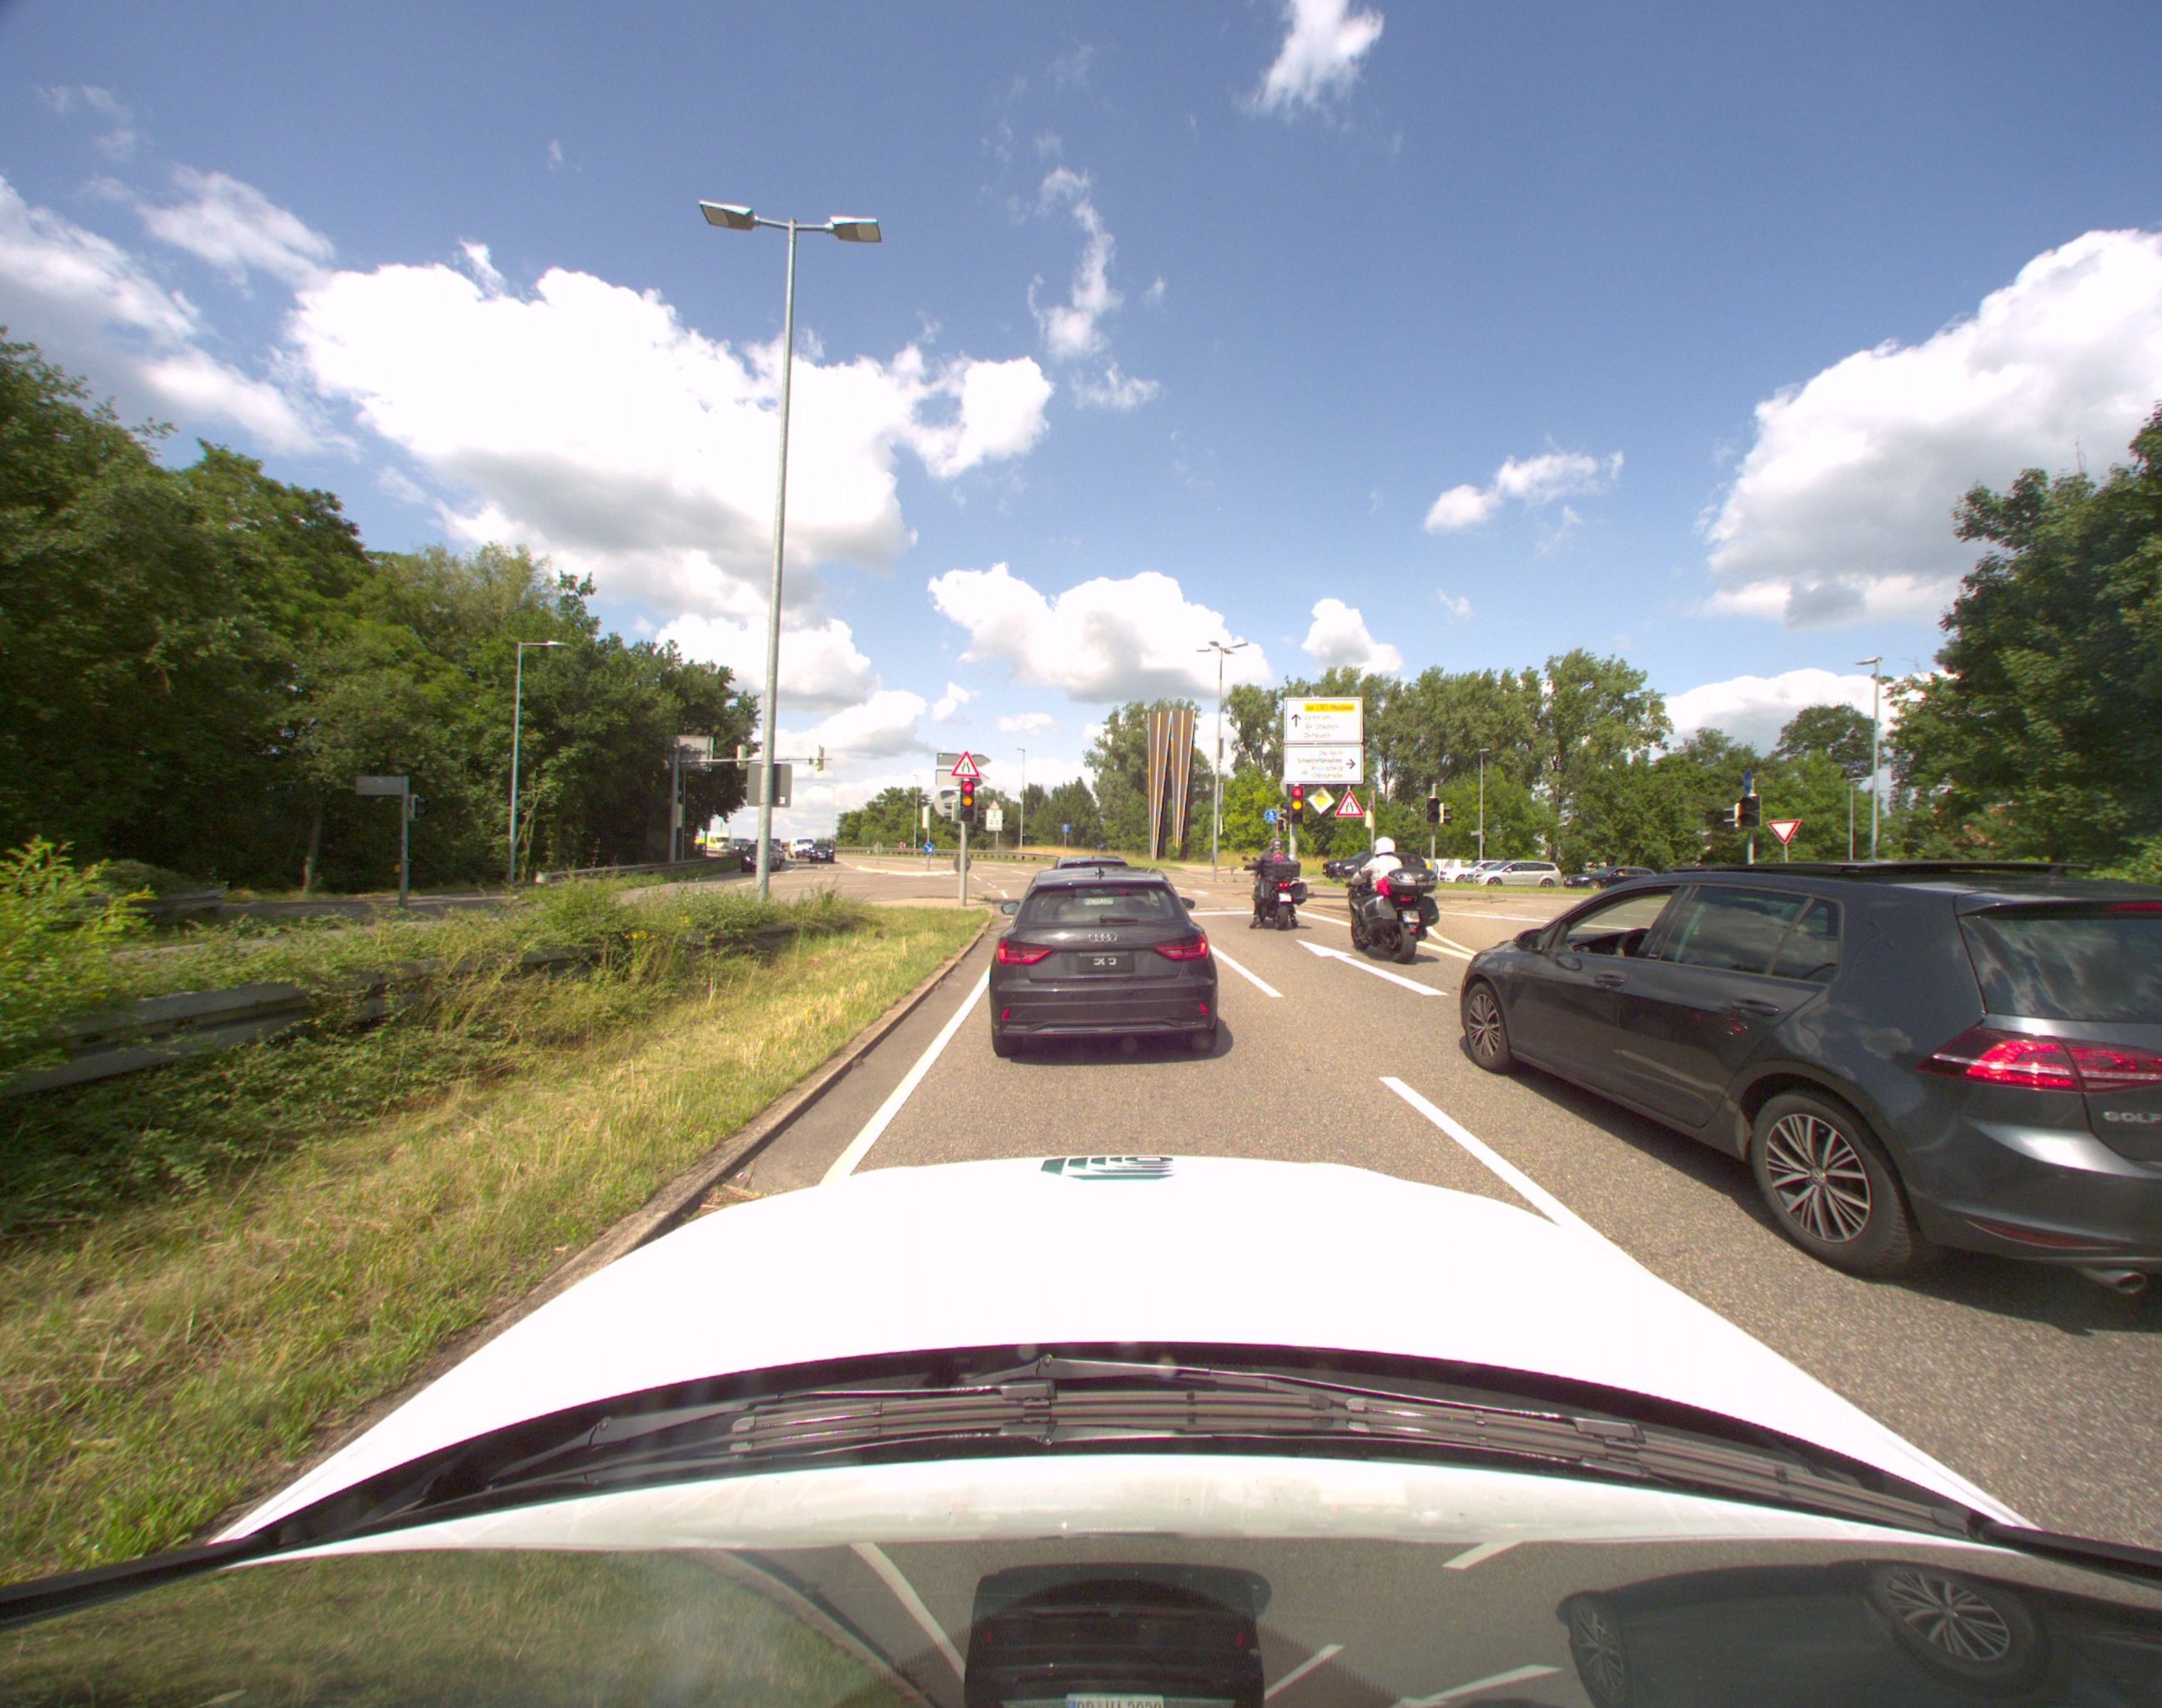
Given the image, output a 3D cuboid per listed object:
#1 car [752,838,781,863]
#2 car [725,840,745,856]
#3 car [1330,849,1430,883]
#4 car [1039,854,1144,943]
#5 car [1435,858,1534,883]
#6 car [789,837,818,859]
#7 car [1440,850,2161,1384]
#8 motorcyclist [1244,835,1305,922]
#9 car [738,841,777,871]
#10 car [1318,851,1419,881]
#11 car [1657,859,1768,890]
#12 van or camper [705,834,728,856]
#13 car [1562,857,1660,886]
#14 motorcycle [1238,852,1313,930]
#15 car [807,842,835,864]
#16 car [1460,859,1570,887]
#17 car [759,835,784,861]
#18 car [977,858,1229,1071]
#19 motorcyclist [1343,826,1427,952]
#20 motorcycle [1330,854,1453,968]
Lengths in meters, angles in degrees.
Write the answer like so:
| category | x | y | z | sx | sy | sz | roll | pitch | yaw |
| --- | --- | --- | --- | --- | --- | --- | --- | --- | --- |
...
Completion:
| category | x | y | z | sx | sy | sz | roll | pitch | yaw |
| --- | --- | --- | --- | --- | --- | --- | --- | --- | --- |
| car | -23.195 | -0.251 | 60.220 | 1.849 | 1.802 | 4.299 | 1 | 0 | -19 |
| car | -38.805 | -0.652 | 91.275 | 1.853 | 1.705 | 4.289 | 1 | 0 | -26 |
| car | 14.524 | 0.573 | 39.683 | 4.253 | 1.545 | 1.737 | 1 | 0 | 0 |
| car | 0.104 | 0.734 | 15.469 | 1.722 | 1.423 | 3.841 | -1 | 0 | -2 |
| car | 21.572 | 0.887 | 43.629 | 4.481 | 1.281 | 1.736 | 1 | 0 | -2 |
| car | -25.798 | -0.531 | 75.666 | 2.004 | 2.013 | 4.431 | 1 | 0 | -27 |
| car | 3.595 | 0.731 | 4.278 | 1.725 | 1.476 | 4.048 | 1 | 0 | 1 |
| motorcyclist | 3.676 | 0.447 | 15.565 | 0.933 | 1.590 | 1.084 | 0 | 0 | 1 |
| car | -18.154 | 0.127 | 45.847 | 1.844 | 1.618 | 3.974 | 0 | -1 | -19 |
| car | 15.300 | 0.631 | 43.520 | 4.831 | 1.545 | 1.737 | 1 | 0 | 0 |
| car | 31.101 | 1.002 | 40.171 | 4.212 | 1.476 | 1.736 | 1 | 0 | -2 |
| van or camper | -46.602 | -1.093 | 103.942 | 2.006 | 2.683 | 6.798 | 0 | 0 | -30 |
| car | 28.566 | 0.945 | 43.927 | 4.212 | 1.476 | 1.736 | 1 | 0 | -2 |
| motorcycle | 3.676 | 0.653 | 15.619 | 0.933 | 1.383 | 2.371 | 0 | 0 | 2 |
| car | -19.189 | -0.076 | 60.064 | 1.738 | 1.496 | 4.018 | 1 | 0 | -21 |
| car | 21.112 | 0.913 | 39.703 | 4.460 | 1.320 | 1.736 | 1 | 0 | -2 |
| car | -25.747 | -0.497 | 67.632 | 1.850 | 2.100 | 4.295 | 1 | 0 | -22 |
| car | 0.217 | 0.777 | 7.660 | 1.720 | 1.404 | 4.002 | -1 | 0 | 2 |
| motorcyclist | 4.240 | 0.469 | 11.434 | 0.862 | 1.700 | 0.895 | 0 | 0 | 1 |
| motorcycle | 4.233 | 0.715 | 11.338 | 0.862 | 1.389 | 2.371 | 0 | 0 | 2 |
